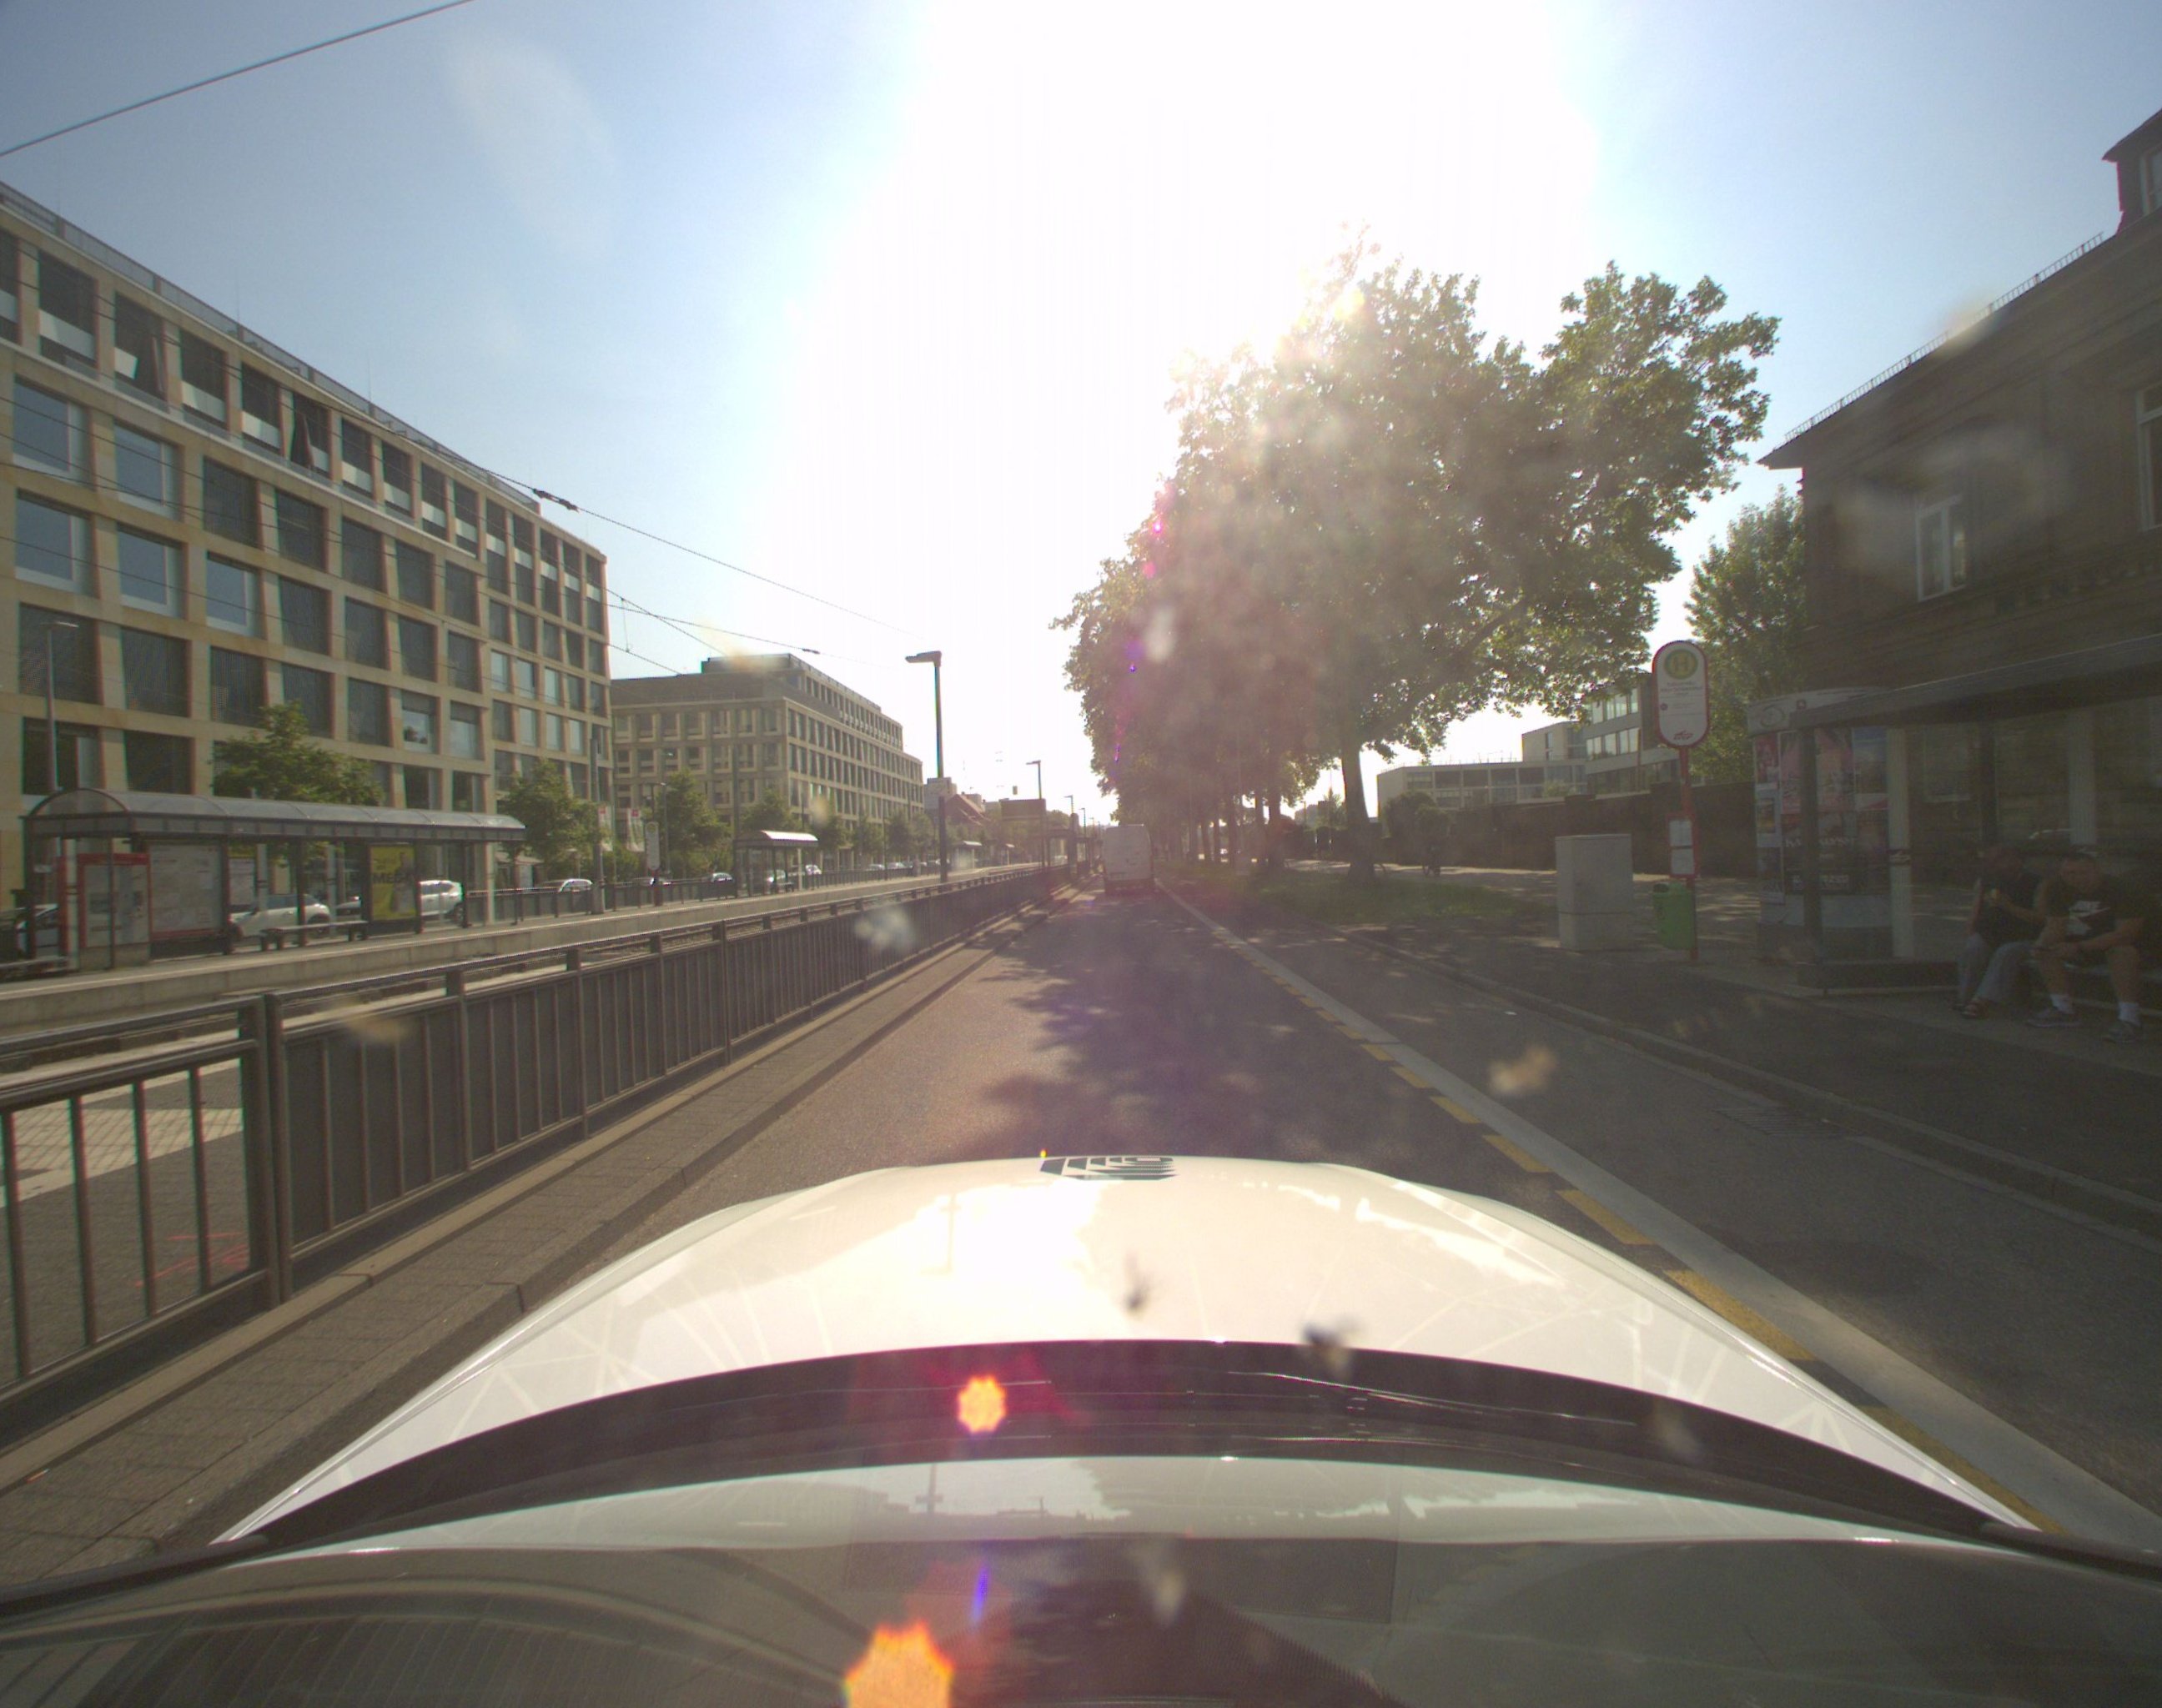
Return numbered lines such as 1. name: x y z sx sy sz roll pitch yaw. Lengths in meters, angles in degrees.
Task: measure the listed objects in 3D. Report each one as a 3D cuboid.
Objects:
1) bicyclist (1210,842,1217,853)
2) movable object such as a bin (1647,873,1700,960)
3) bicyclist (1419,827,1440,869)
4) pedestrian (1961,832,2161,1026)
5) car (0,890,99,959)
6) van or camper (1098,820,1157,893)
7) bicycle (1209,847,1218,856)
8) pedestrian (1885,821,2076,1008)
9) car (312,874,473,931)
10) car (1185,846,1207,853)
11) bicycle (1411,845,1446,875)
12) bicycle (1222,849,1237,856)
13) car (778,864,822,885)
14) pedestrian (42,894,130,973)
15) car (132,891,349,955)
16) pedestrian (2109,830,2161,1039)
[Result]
1. bicyclist: 15.242 -0.733 93.764 0.667 1.276 0.728 -3 0 2
2. movable object such as a bin: 6.531 0.680 8.988 0.270 0.915 0.386 -2 0 1
3. bicyclist: 13.134 -0.233 30.723 0.467 1.539 0.596 -2 0 0
4. pedestrian: 6.815 0.493 5.636 0.738 1.261 0.612 -1 -1 2
5. car: -24.033 1.590 17.070 1.894 1.403 4.002 -3 0 2
6. van or camper: 1.790 0.094 33.021 2.108 2.682 5.250 -1 0 0
7. bicycle: 15.249 -0.268 93.745 0.679 1.005 2.219 -3 0 2
8. pedestrian: 6.925 0.450 6.302 0.747 1.366 0.612 -1 -1 2
9. car: -23.679 1.609 28.258 1.784 1.625 4.320 -3 0 0
10. car: 21.971 -0.842 155.809 3.971 1.376 2.001 -1 -1 2
11. bicycle: 13.158 0.216 30.886 0.489 1.089 1.857 -2 0 0
12. bicycle: 19.248 -0.206 105.521 1.924 0.847 0.372 -3 0 3
13. car: -21.699 1.589 62.985 1.677 1.407 4.373 -3 0 2
14. pedestrian: -22.507 1.774 18.440 0.833 1.676 0.881 -3 0 3
15. car: -23.769 1.897 23.286 1.894 1.403 4.002 -3 0 2
16. pedestrian: 6.893 0.479 4.841 0.738 1.261 0.612 -1 -1 2
